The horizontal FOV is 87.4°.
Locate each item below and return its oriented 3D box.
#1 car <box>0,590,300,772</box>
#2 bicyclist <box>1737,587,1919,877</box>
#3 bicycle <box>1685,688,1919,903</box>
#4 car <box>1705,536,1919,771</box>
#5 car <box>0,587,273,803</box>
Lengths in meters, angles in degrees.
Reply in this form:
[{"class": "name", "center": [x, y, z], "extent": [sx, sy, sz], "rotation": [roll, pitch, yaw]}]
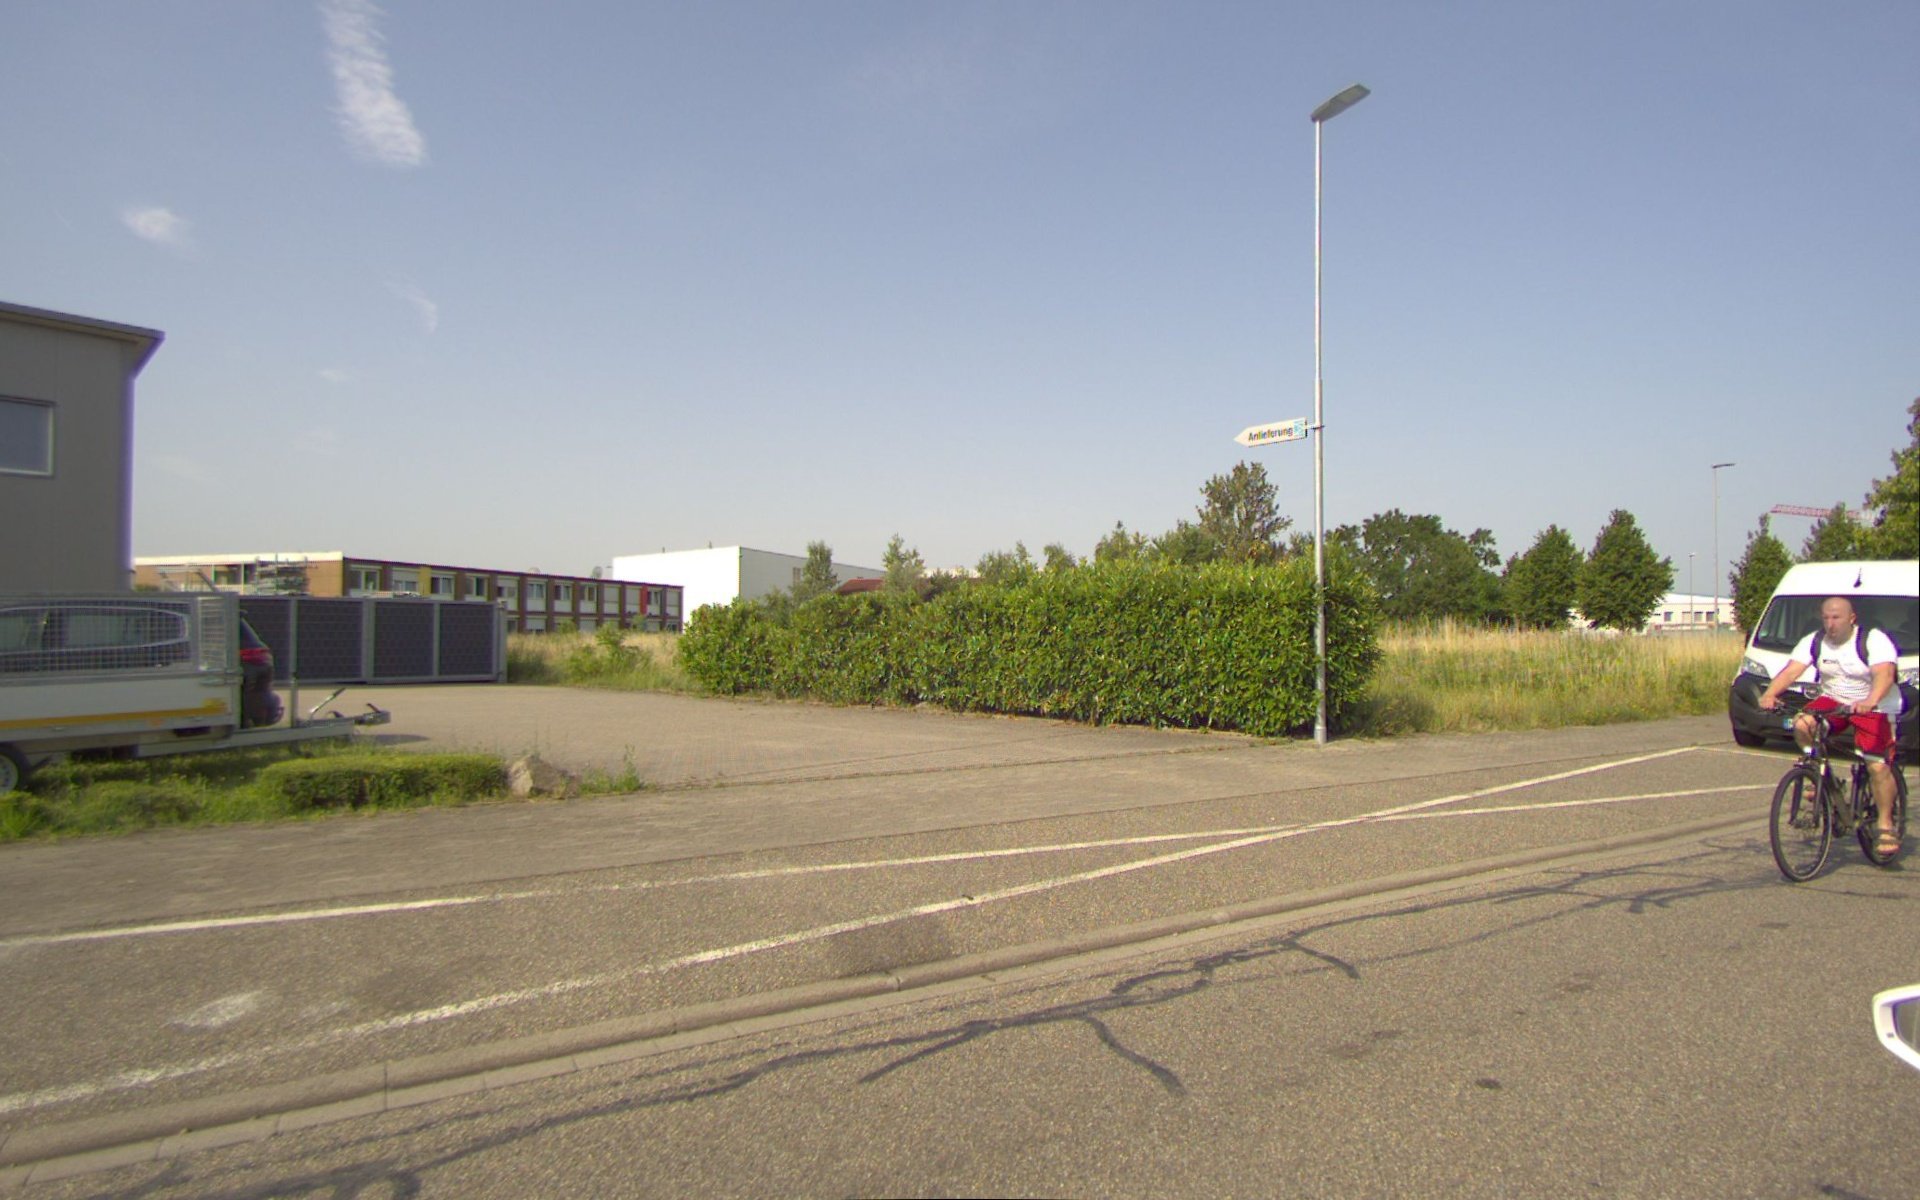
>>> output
[{"class": "car", "center": [-9.464, 0.761, 10.085], "extent": [1.967, 1.680, 4.398], "rotation": [0, -1, 42]}, {"class": "bicyclist", "center": [5.776, 0.811, 6.618], "extent": [1.152, 1.741, 0.636], "rotation": [1, -2, -30]}, {"class": "bicycle", "center": [5.710, 1.182, 6.558], "extent": [2.193, 1.136, 0.713], "rotation": [1, -4, -30]}, {"class": "car", "center": [12.890, 0.600, 13.866], "extent": [6.434, 2.630, 2.089], "rotation": [0, 1, -34]}, {"class": "car", "center": [-7.896, 0.689, 7.919], "extent": [1.813, 1.593, 3.795], "rotation": [1, 0, 43]}]
